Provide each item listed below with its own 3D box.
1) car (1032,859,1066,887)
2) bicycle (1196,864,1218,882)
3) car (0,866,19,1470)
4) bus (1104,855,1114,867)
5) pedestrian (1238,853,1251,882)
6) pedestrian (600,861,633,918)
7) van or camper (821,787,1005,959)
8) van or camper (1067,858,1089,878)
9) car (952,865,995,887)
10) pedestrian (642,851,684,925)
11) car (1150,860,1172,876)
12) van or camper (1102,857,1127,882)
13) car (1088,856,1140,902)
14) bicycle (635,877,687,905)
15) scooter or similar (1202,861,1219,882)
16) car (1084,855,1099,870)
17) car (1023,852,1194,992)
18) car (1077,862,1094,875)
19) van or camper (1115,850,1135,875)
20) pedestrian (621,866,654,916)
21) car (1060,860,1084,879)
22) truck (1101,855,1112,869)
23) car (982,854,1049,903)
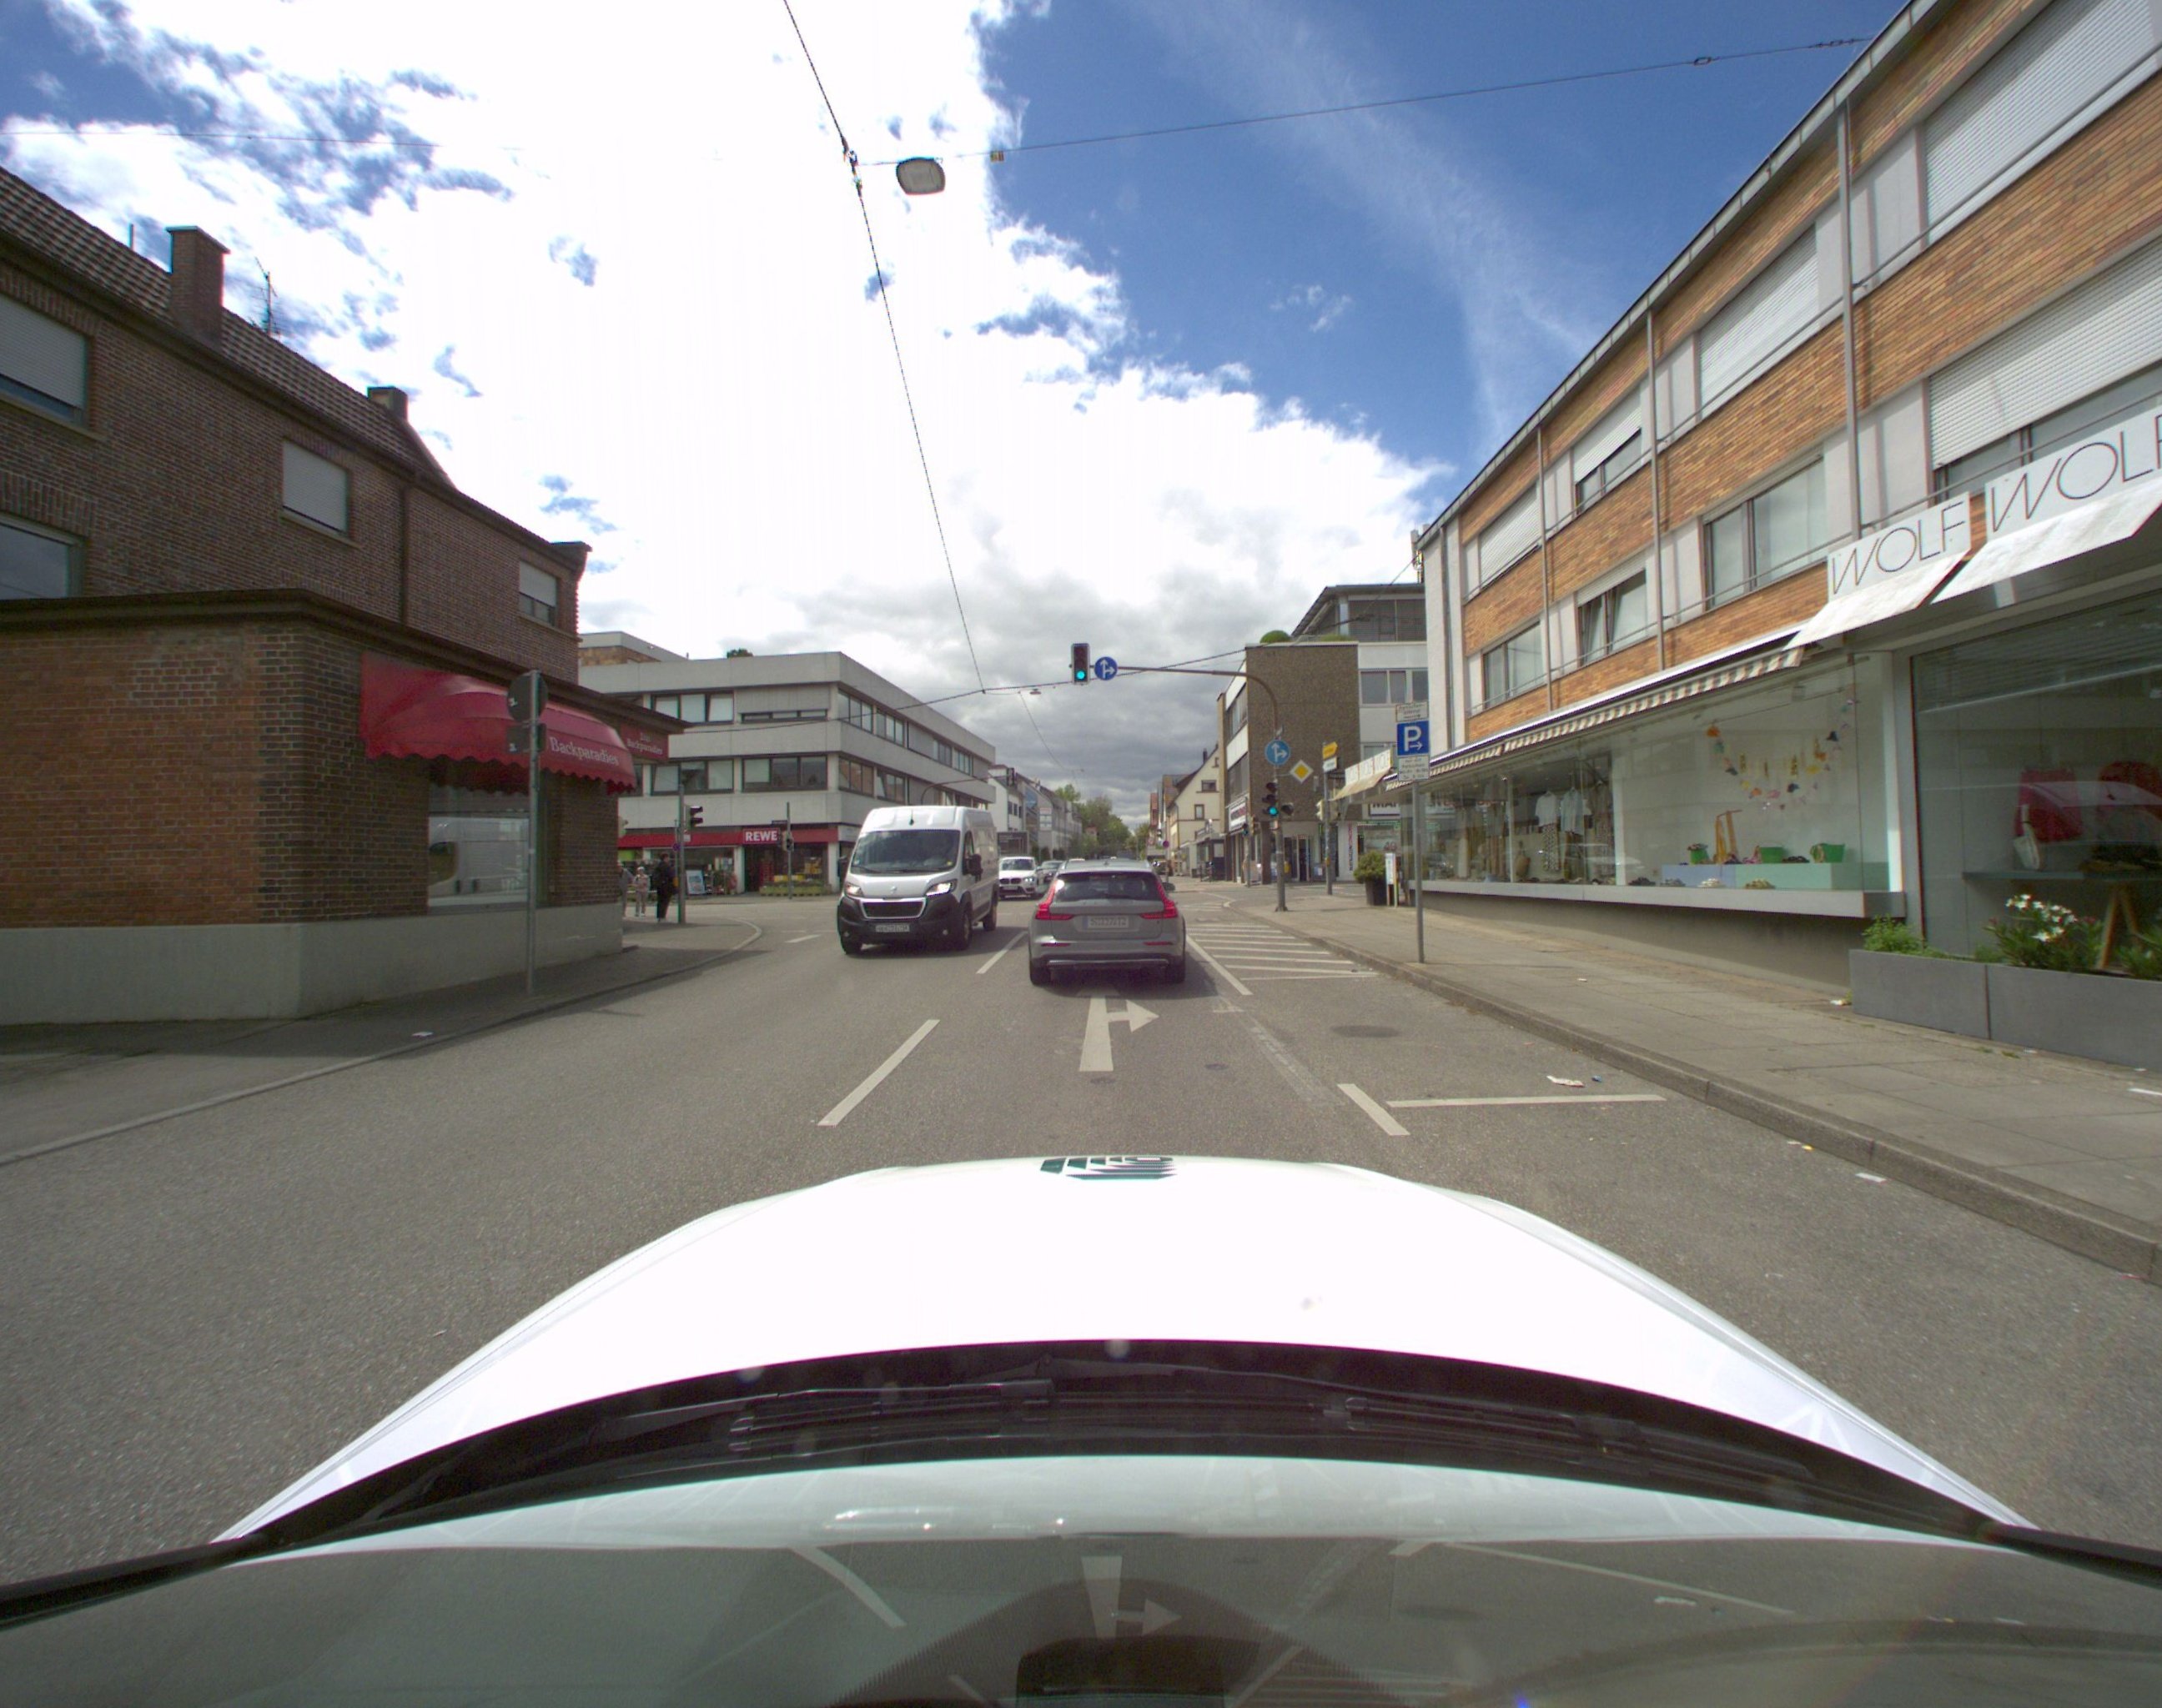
[{"bbox_3d":[-1.922,1.153,50.192,1.783,1.589,4.100,-2,-1,1],"label":"car"},{"bbox_3d":[8.288,1.271,53.746,0.555,1.144,2.288,-2,-1,-15],"label":"bicycle"},{"bbox_3d":[-3.585,0.782,0.136,1.786,1.511,3.842,-2,-1,-1],"label":"car"},{"bbox_3d":[7.056,1.725,202.410,2.266,2.668,7.435,-2,-1,3],"label":"bus"},{"bbox_3d":[8.346,0.704,41.650,0.500,1.459,0.502,-5,-2,15],"label":"pedestrian"},{"bbox_3d":[-13.834,1.059,24.255,0.522,1.659,0.761,0,-3,0],"label":"pedestrian"},{"bbox_3d":[-2.820,0.291,15.145,2.141,2.556,5.438,-2,0,1],"label":"van or camper"},{"bbox_3d":[-0.254,1.344,80.308,1.857,1.898,4.695,-1,0,2],"label":"van or camper"},{"bbox_3d":[-7.285,1.494,55.743,1.894,1.443,4.451,0,-1,7],"label":"car"},{"bbox_3d":[-10.307,0.841,20.094,0.623,1.797,0.720,0,-3,0],"label":"pedestrian"},{"bbox_3d":[7.713,1.369,78.754,1.705,1.464,3.999,0,-2,0],"label":"car"},{"bbox_3d":[2.594,1.225,63.326,1.812,1.835,4.001,-1,-3,2],"label":"van or camper"},{"bbox_3d":[1.130,0.843,27.987,1.644,1.482,3.609,-1,-1,2],"label":"car"},{"bbox_3d":[-18.808,1.645,36.488,1.880,1.142,0.774,-3,-1,-8],"label":"bicycle"},{"bbox_3d":[8.075,1.094,50.901,0.342,1.253,1.236,-3,-2,-23],"label":"scooter or similar"},{"bbox_3d":[1.430,1.134,107.180,1.831,1.917,4.157,-1,-1,2],"label":"car"},{"bbox_3d":[0.372,0.743,10.845,1.829,1.486,4.002,-1,0,2],"label":"car"},{"bbox_3d":[0.566,1.679,94.898,1.661,1.554,4.218,-1,-1,3],"label":"car"},{"bbox_3d":[4.876,0.978,90.707,2.114,2.686,4.785,-2,-1,3],"label":"van or camper"},{"bbox_3d":[-13.249,1.105,24.353,0.522,1.485,0.761,0,-3,0],"label":"pedestrian"},{"bbox_3d":[-0.703,1.274,67.670,1.676,1.497,3.970,-2,-1,3],"label":"car"},{"bbox_3d":[5.878,1.828,185.809,2.266,2.886,7.085,-2,-1,3],"label":"truck"},{"bbox_3d":[-2.384,0.887,30.685,1.772,1.640,4.226,-3,-1,5],"label":"car"}]
